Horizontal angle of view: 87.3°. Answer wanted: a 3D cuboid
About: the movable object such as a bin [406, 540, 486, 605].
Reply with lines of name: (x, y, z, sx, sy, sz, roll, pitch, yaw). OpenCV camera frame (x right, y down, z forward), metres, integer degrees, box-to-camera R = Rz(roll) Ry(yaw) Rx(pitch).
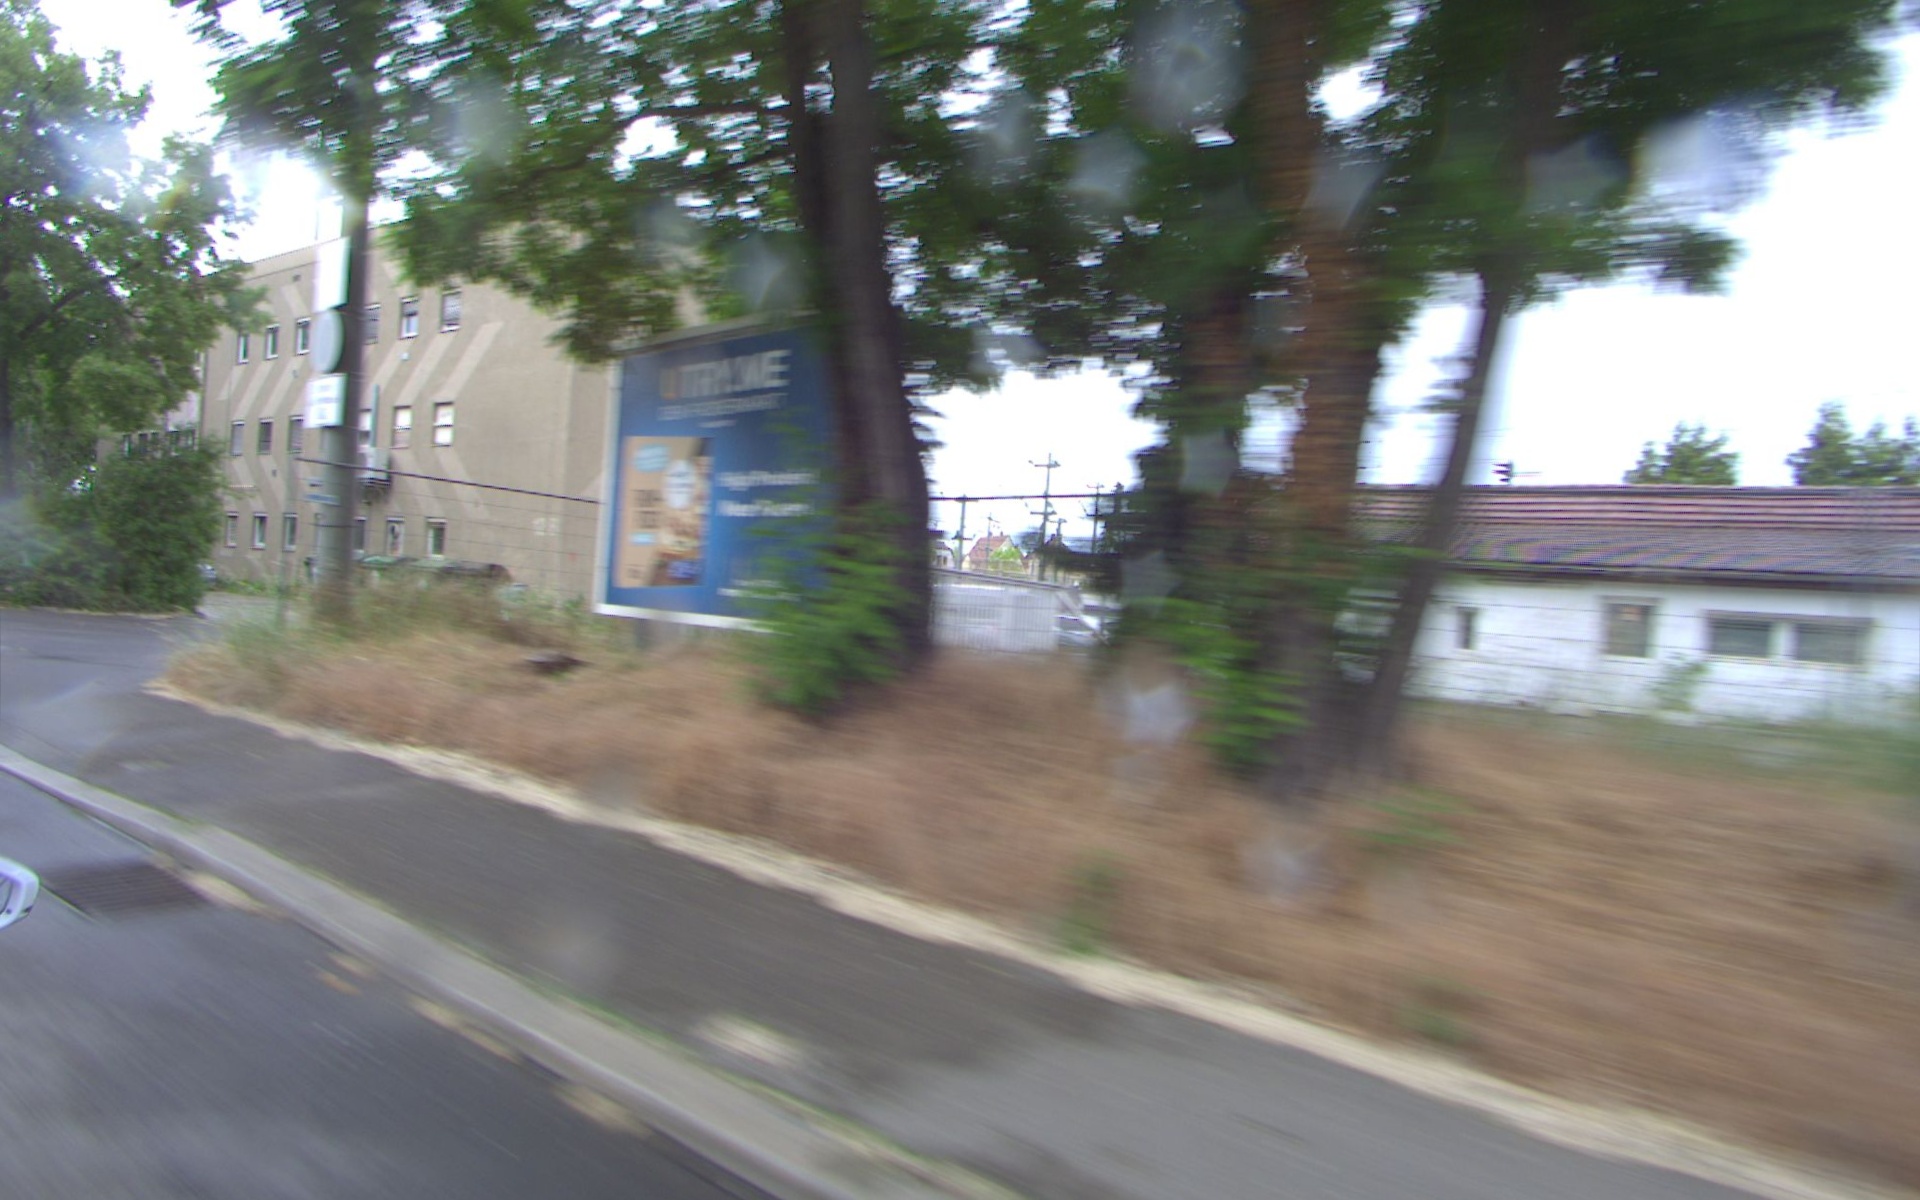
movable object such as a bin: (-12.891, -0.691, 25.242, 1.310, 1.434, 1.213, 7, 1, 33)

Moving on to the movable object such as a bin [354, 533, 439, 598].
movable object such as a bin: (-14.309, -0.863, 25.551, 1.396, 1.434, 1.305, 7, 1, 33)

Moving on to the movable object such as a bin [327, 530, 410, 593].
movable object such as a bin: (-15.541, -1.002, 26.437, 1.408, 1.434, 1.305, 7, 1, 33)

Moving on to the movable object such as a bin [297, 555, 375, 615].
movable object such as a bin: (-16.966, -0.413, 27.362, 1.335, 1.434, 1.272, 7, 1, 33)

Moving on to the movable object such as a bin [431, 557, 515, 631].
movable object such as a bin: (-11.786, -0.136, 24.358, 1.310, 1.606, 1.213, 7, 1, 33)

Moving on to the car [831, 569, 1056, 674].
car: (-0.405, 0.447, 21.982, 4.577, 1.882, 1.783, 4, 0, 31)
